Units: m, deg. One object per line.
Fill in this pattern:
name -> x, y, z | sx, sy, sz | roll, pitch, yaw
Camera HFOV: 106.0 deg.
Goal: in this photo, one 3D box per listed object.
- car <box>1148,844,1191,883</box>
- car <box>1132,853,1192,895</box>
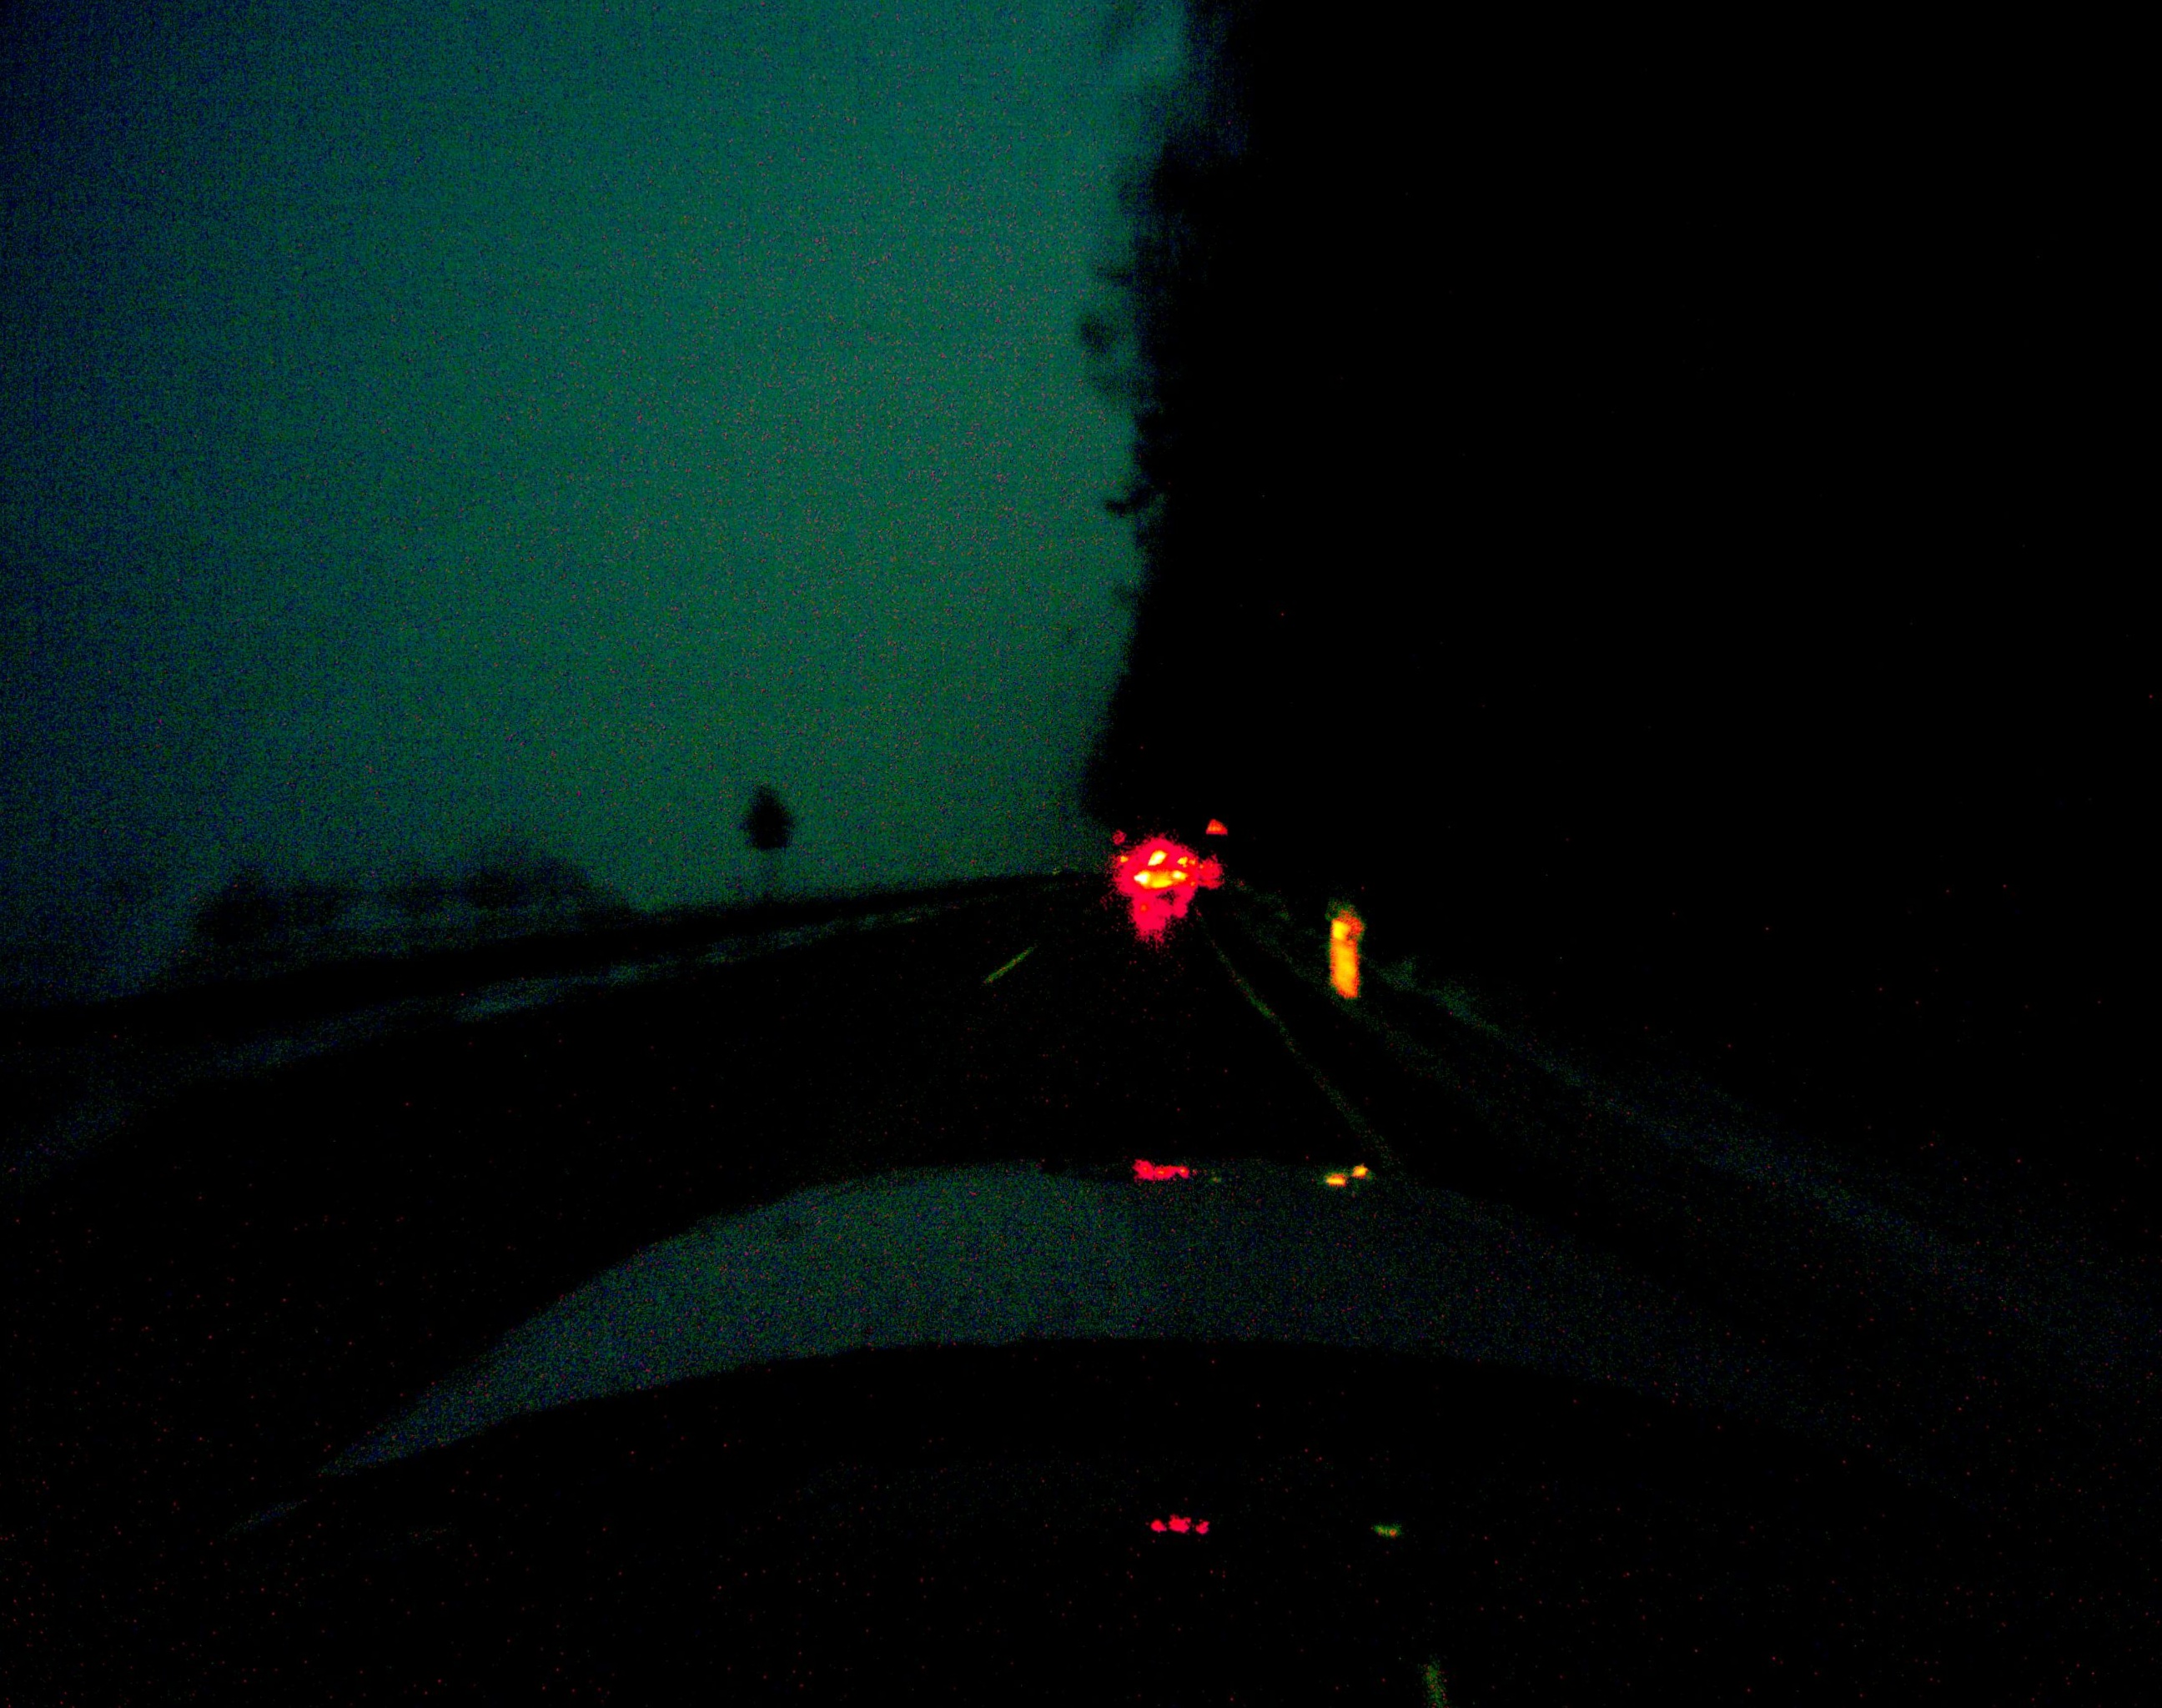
car -> 4.399, 0.454, 40.473 | 1.983, 1.783, 4.007 | -2, 0, 6
car -> 2.958, 0.670, 28.971 | 1.935, 1.381, 4.009 | -1, -1, 8
